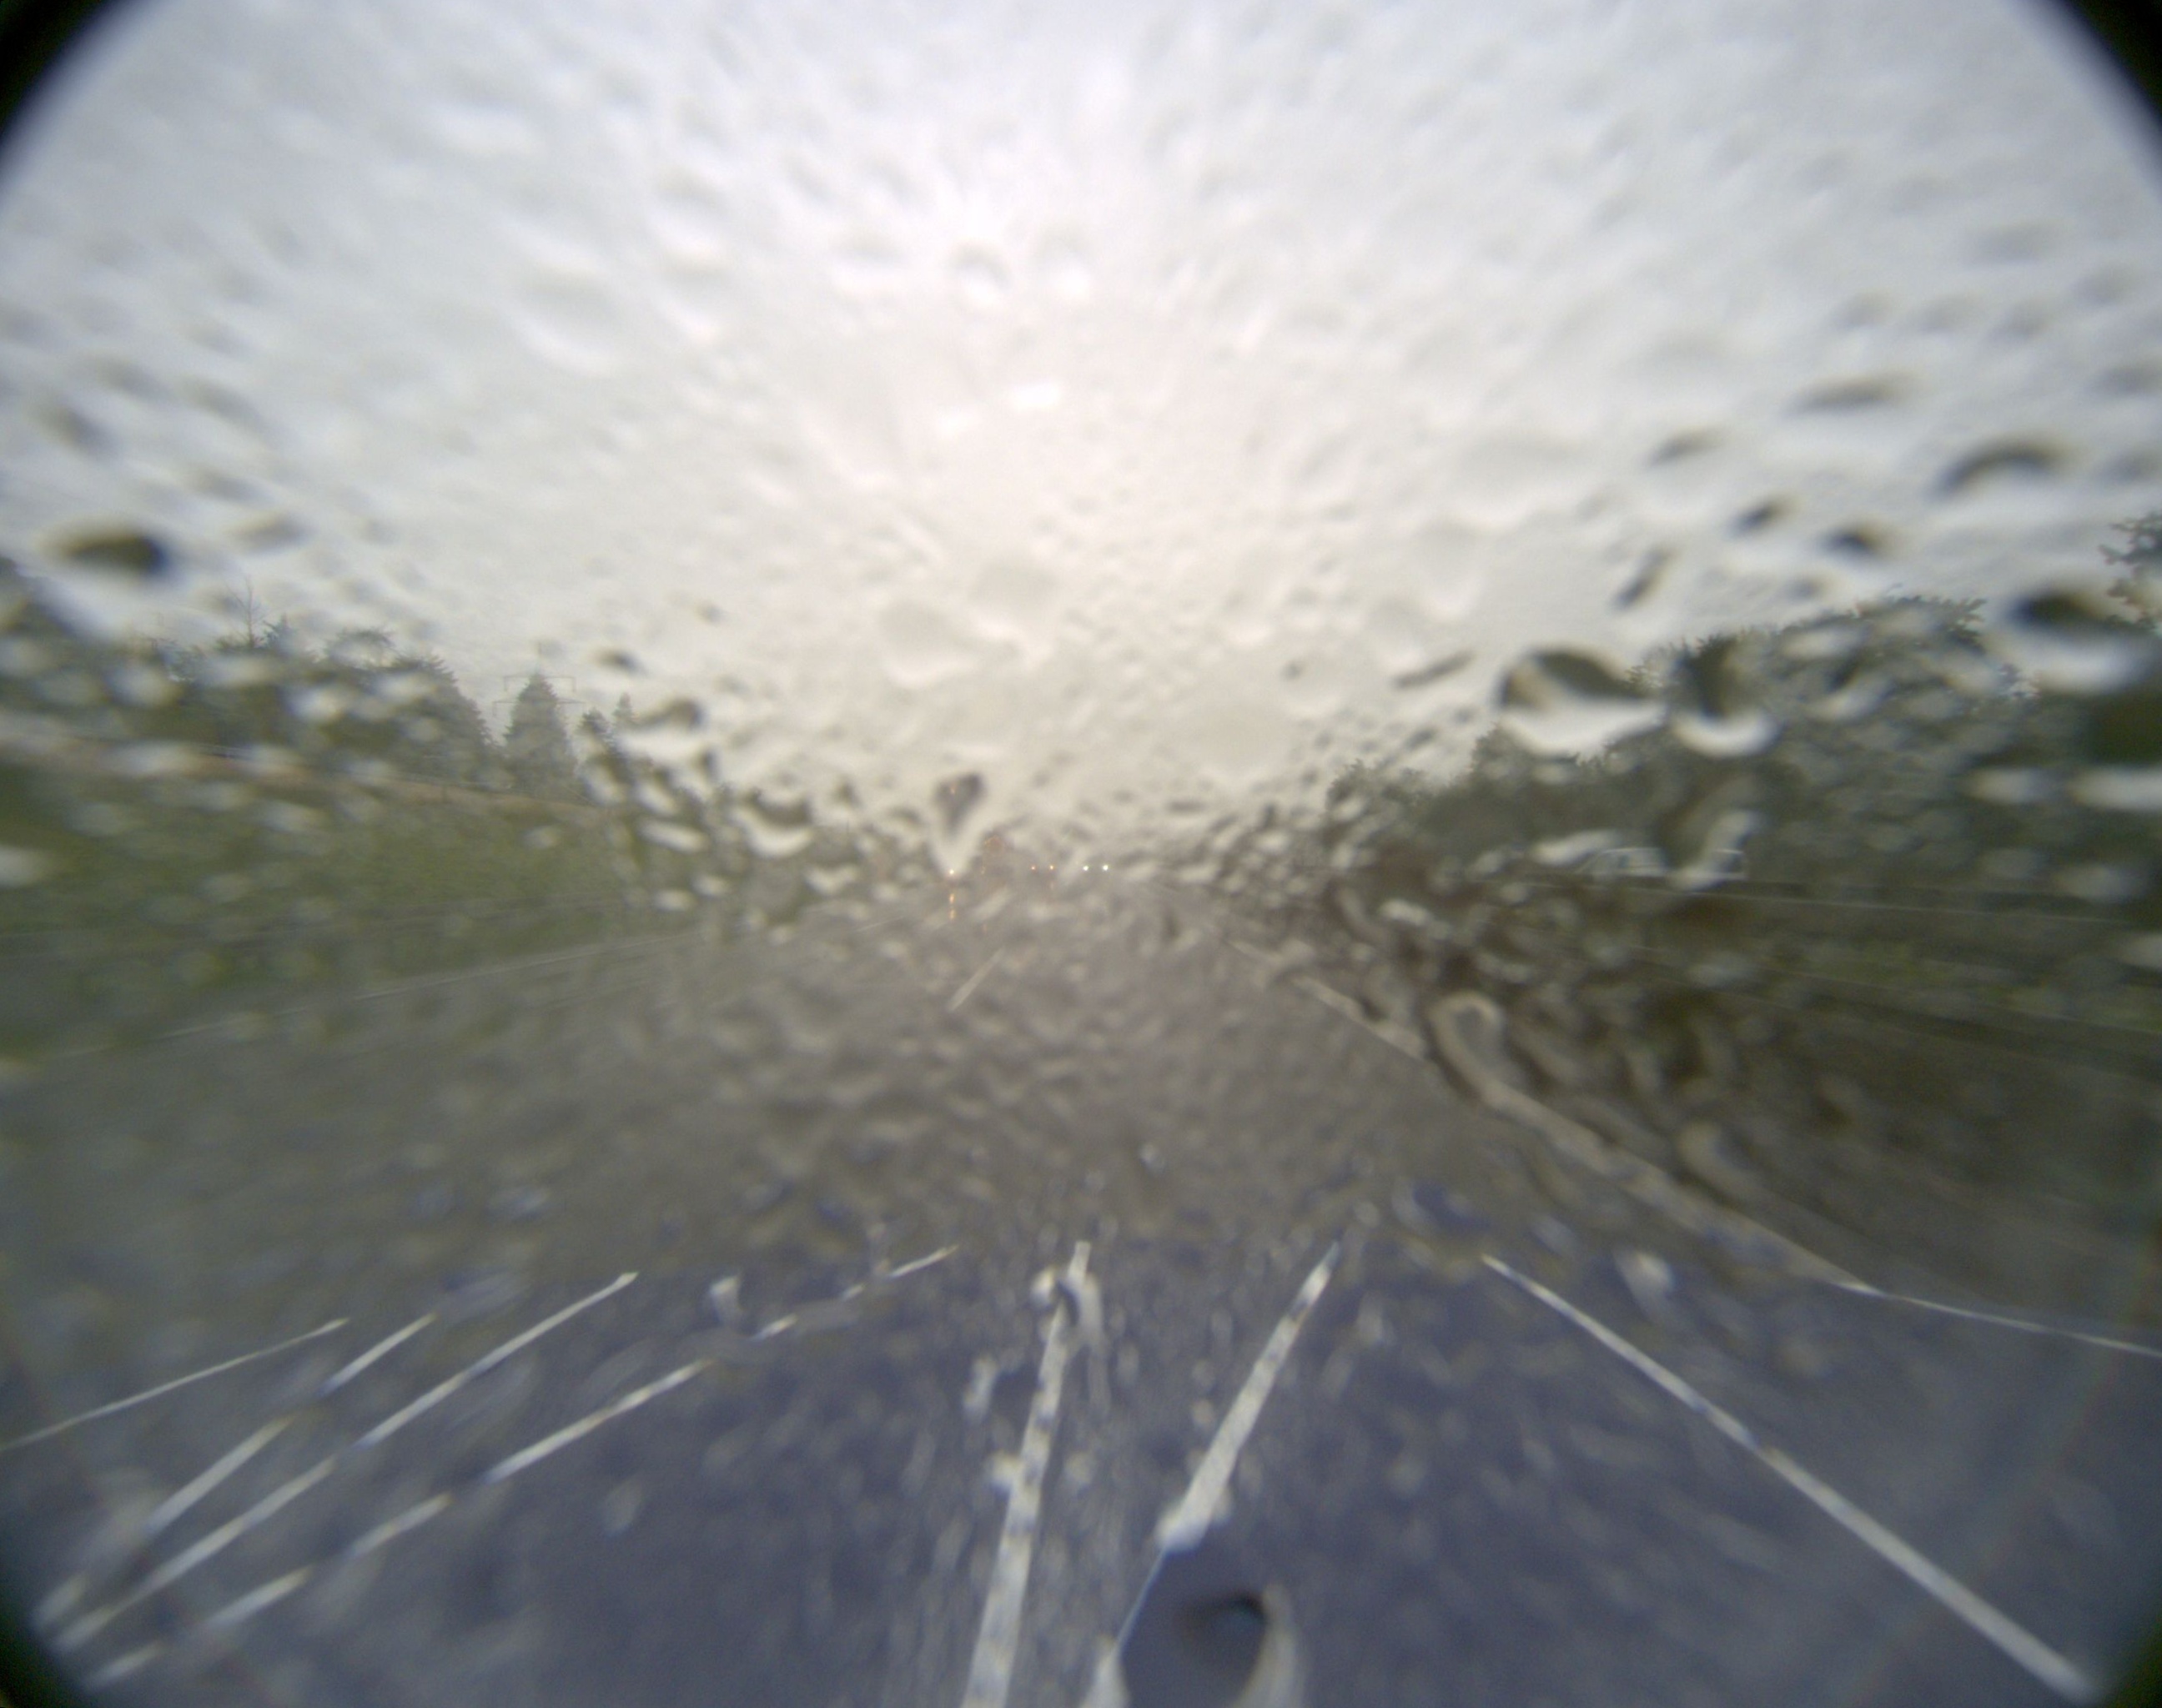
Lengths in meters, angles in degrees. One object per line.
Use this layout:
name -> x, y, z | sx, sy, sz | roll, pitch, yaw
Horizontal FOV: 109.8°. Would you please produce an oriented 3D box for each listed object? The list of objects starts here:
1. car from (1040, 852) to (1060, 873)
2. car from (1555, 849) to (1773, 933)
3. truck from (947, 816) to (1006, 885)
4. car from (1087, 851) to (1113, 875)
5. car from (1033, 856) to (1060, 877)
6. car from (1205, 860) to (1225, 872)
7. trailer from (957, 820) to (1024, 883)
car -> -2.529, 0.721, 62.834 | 1.517, 1.606, 3.186 | -2, 0, 0
car -> 15.978, 0.925, 21.329 | 1.933, 2.001, 5.402 | -2, -1, 0
truck -> -6.256, -0.169, 46.298 | 2.457, 3.866, 6.200 | -2, 0, 1
car -> 1.399, 0.639, 56.842 | 1.845, 1.670, 4.000 | -2, 0, 1
car -> -2.563, 0.949, 57.224 | 1.663, 1.491, 3.837 | -2, -1, 1
car -> 17.298, 1.556, 98.521 | 1.737, 1.558, 4.761 | -2, -1, 0
trailer -> -6.108, -0.094, 54.367 | 2.486, 3.743, 16.546 | -2, -1, 1
